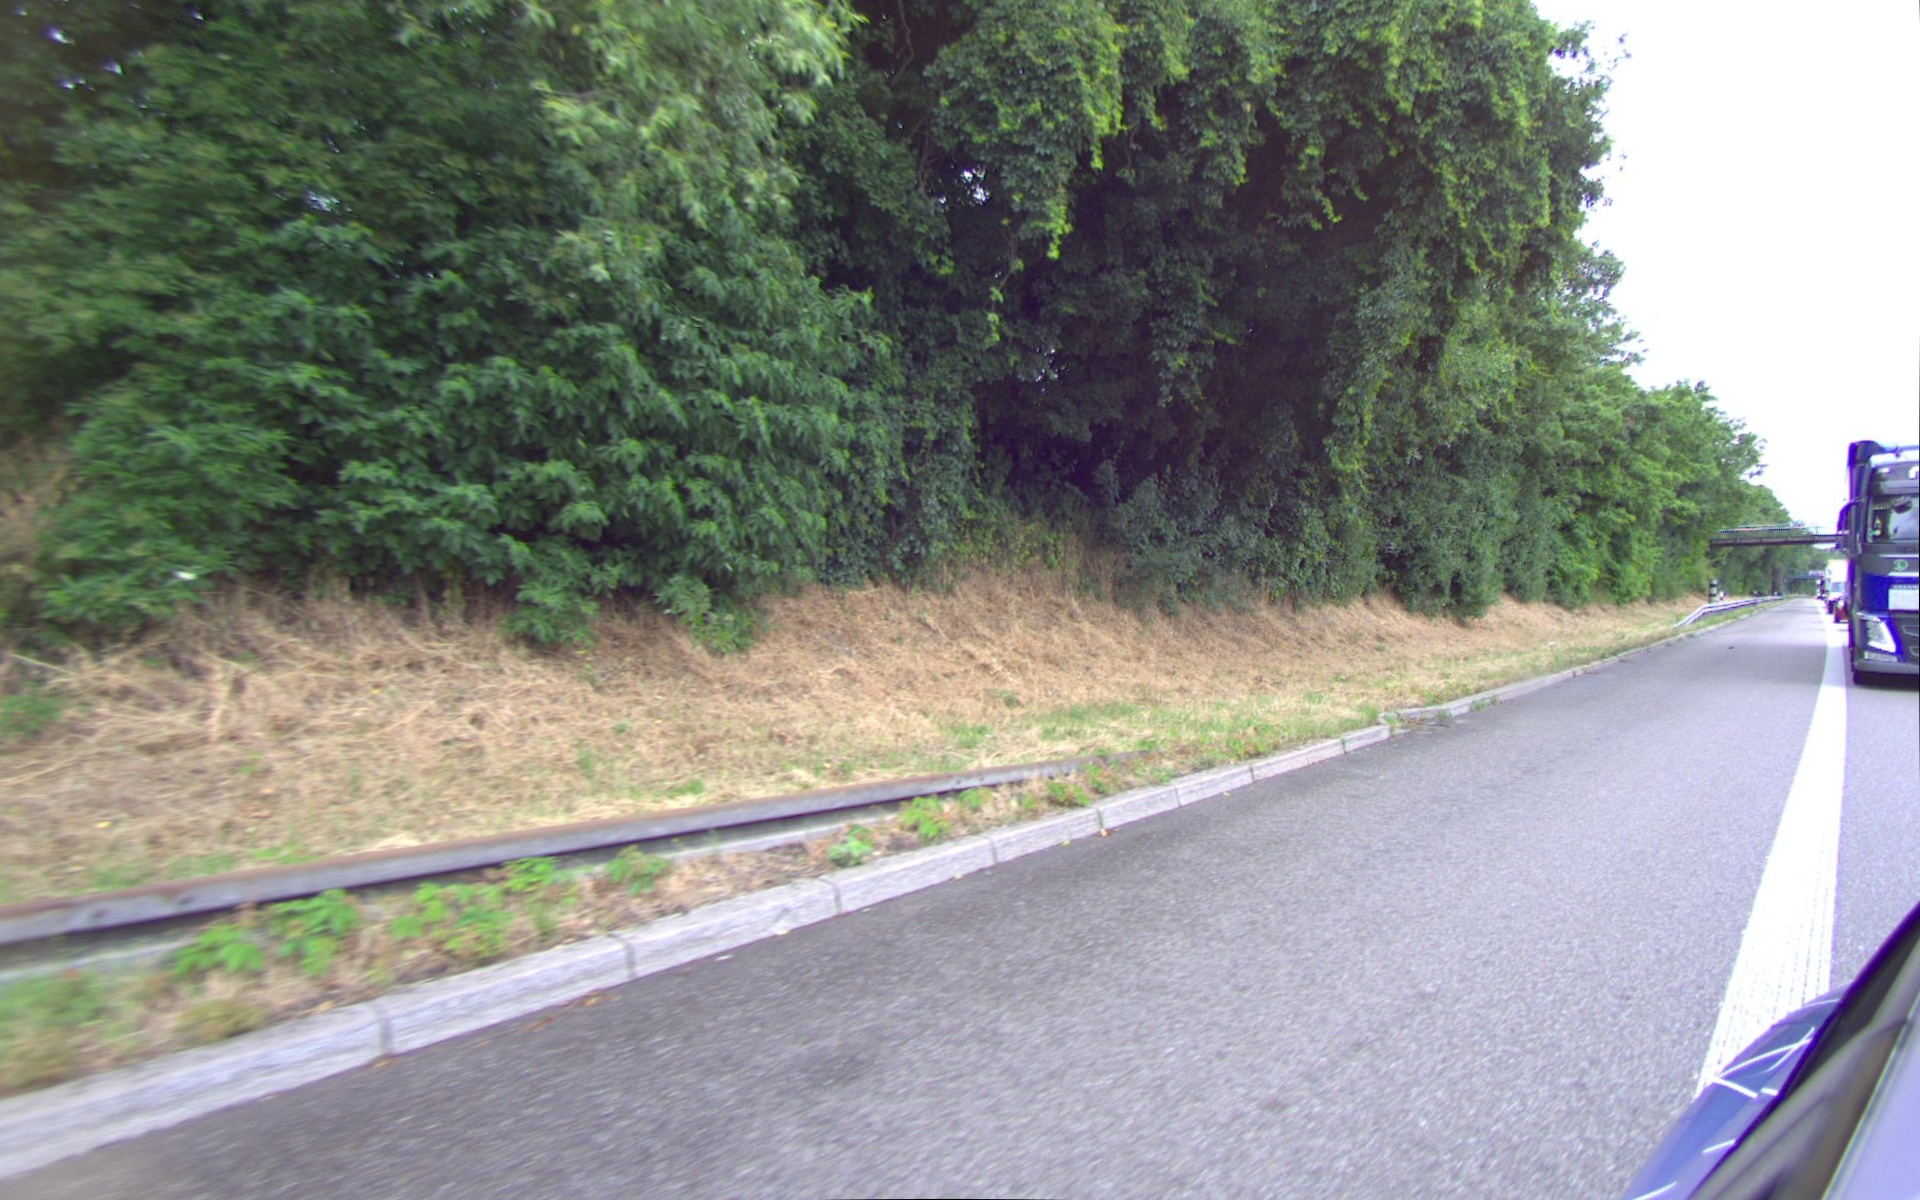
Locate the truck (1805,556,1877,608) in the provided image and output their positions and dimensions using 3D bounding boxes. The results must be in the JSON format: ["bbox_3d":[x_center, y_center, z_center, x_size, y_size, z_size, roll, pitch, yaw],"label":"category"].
[{"bbox_3d":[57.404,-1.187,66.084,3.352,3.156,7.137,0,1,40],"label":"truck"}]

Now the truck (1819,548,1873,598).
[{"bbox_3d":[77.208,-2.347,88.341,3.352,4.115,10.038,0,1,40],"label":"truck"}]

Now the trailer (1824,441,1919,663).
[{"bbox_3d":[21.987,-1.000,23.352,2.836,4.087,12.889,0,1,42],"label":"trailer"}]

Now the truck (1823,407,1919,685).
[{"bbox_3d":[16.647,-0.811,17.097,2.952,4.019,7.357,0,1,42],"label":"truck"}]
